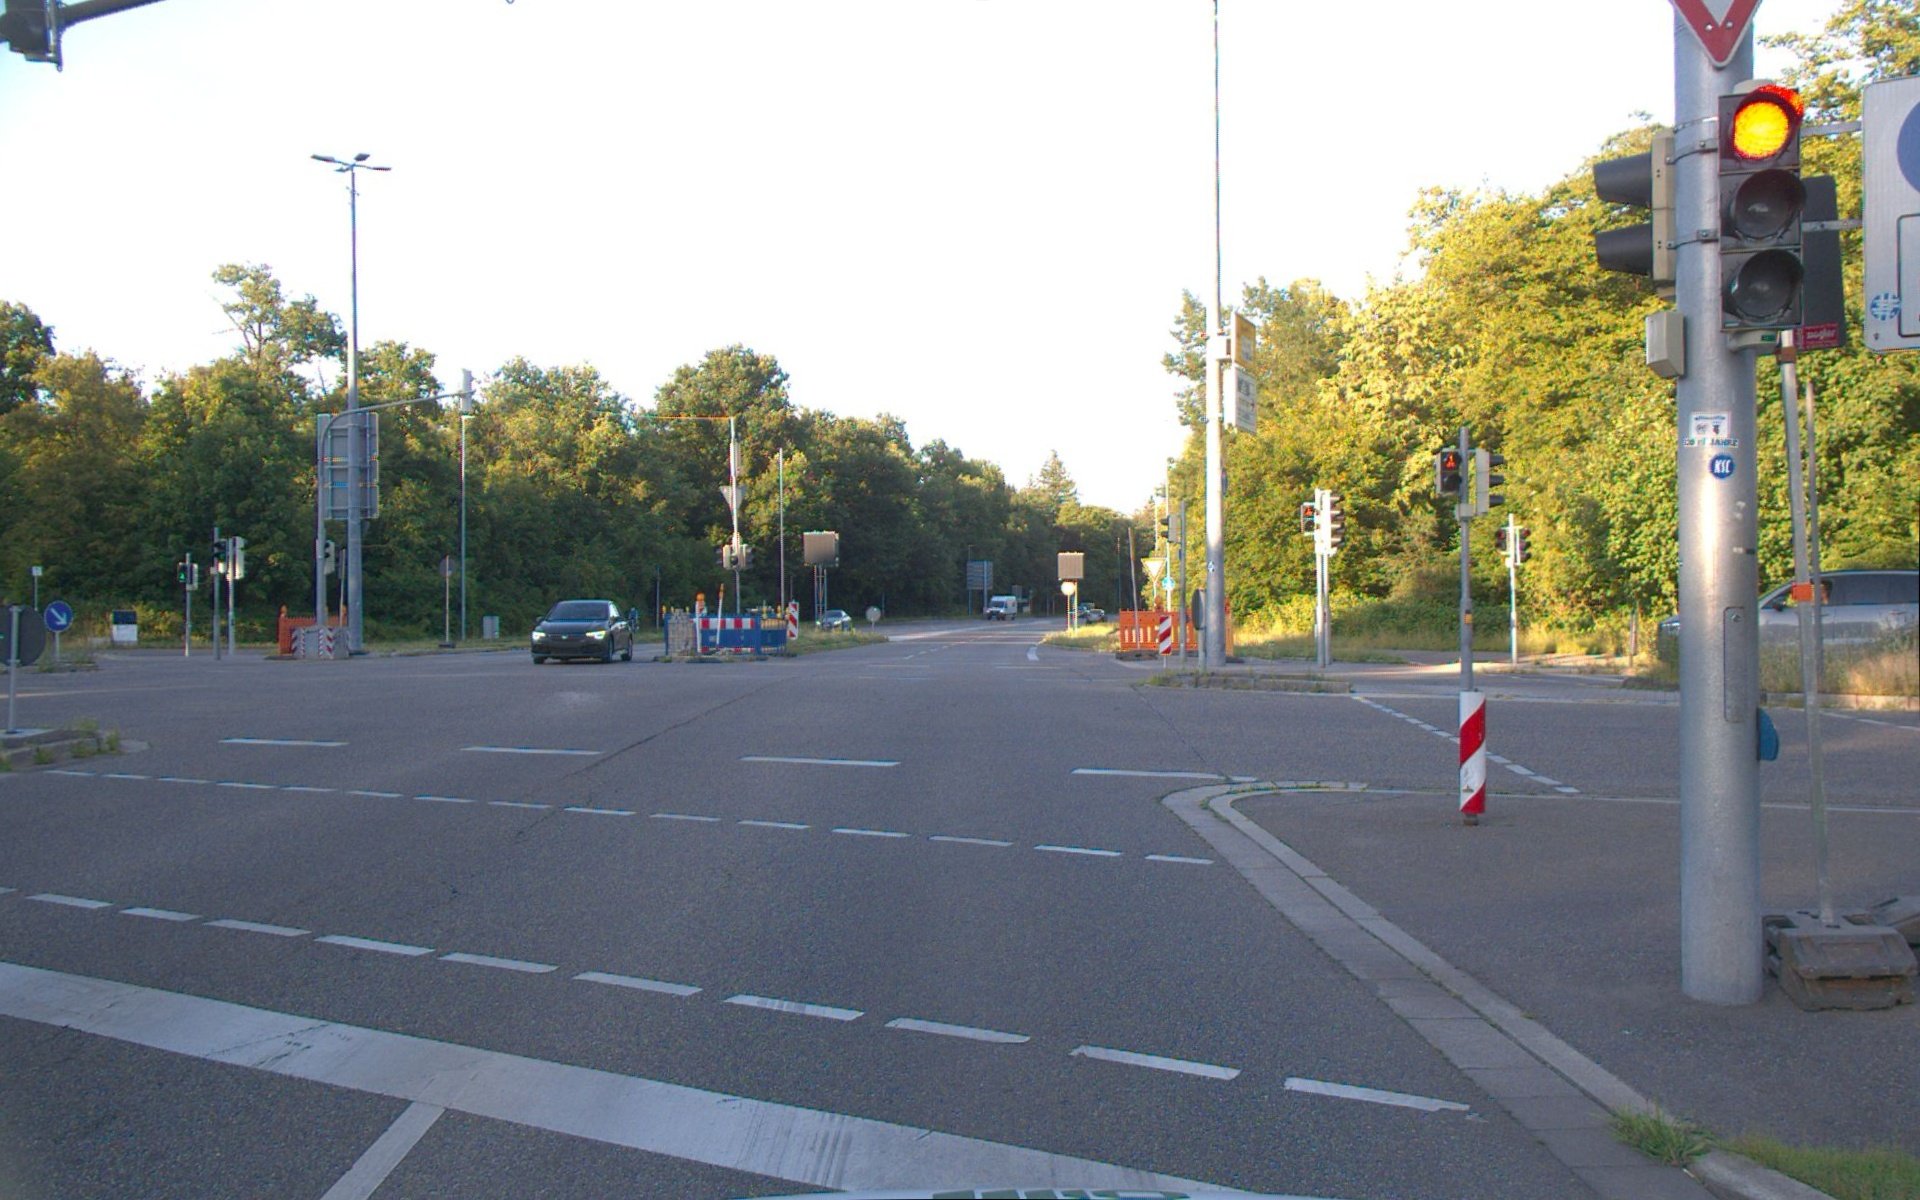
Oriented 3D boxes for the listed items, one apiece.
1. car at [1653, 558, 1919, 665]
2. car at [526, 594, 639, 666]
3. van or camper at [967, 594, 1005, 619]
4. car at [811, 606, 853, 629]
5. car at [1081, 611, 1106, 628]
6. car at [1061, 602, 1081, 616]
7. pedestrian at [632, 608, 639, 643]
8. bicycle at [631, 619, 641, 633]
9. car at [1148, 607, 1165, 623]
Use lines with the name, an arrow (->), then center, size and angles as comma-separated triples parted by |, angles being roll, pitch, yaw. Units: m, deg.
car -> 13.745, 0.188, 26.563 | 4.716, 1.626, 2.000 | -1, 0, 21
car -> -8.741, 0.654, 38.702 | 1.955, 1.556, 4.673 | 0, 0, -5
van or camper -> 2.977, 0.721, 186.319 | 2.823, 2.699, 7.128 | 0, 0, 13
car -> -8.438, 1.141, 109.416 | 1.951, 1.445, 4.003 | 0, 0, 9
car -> 13.521, 2.001, 167.330 | 1.951, 1.646, 4.003 | 0, 0, 12
car -> 14.699, 1.234, 218.589 | 1.951, 1.668, 4.004 | -2, 1, 12
pedestrian -> -18.954, 1.466, 96.741 | 0.328, 2.049, 0.315 | -1, 0, -1
bicycle -> -18.950, 1.514, 96.723 | 0.301, 0.779, 1.278 | -1, 0, -1
car -> 26.691, 2.029, 224.375 | 1.750, 2.049, 4.003 | -1, 0, 13
